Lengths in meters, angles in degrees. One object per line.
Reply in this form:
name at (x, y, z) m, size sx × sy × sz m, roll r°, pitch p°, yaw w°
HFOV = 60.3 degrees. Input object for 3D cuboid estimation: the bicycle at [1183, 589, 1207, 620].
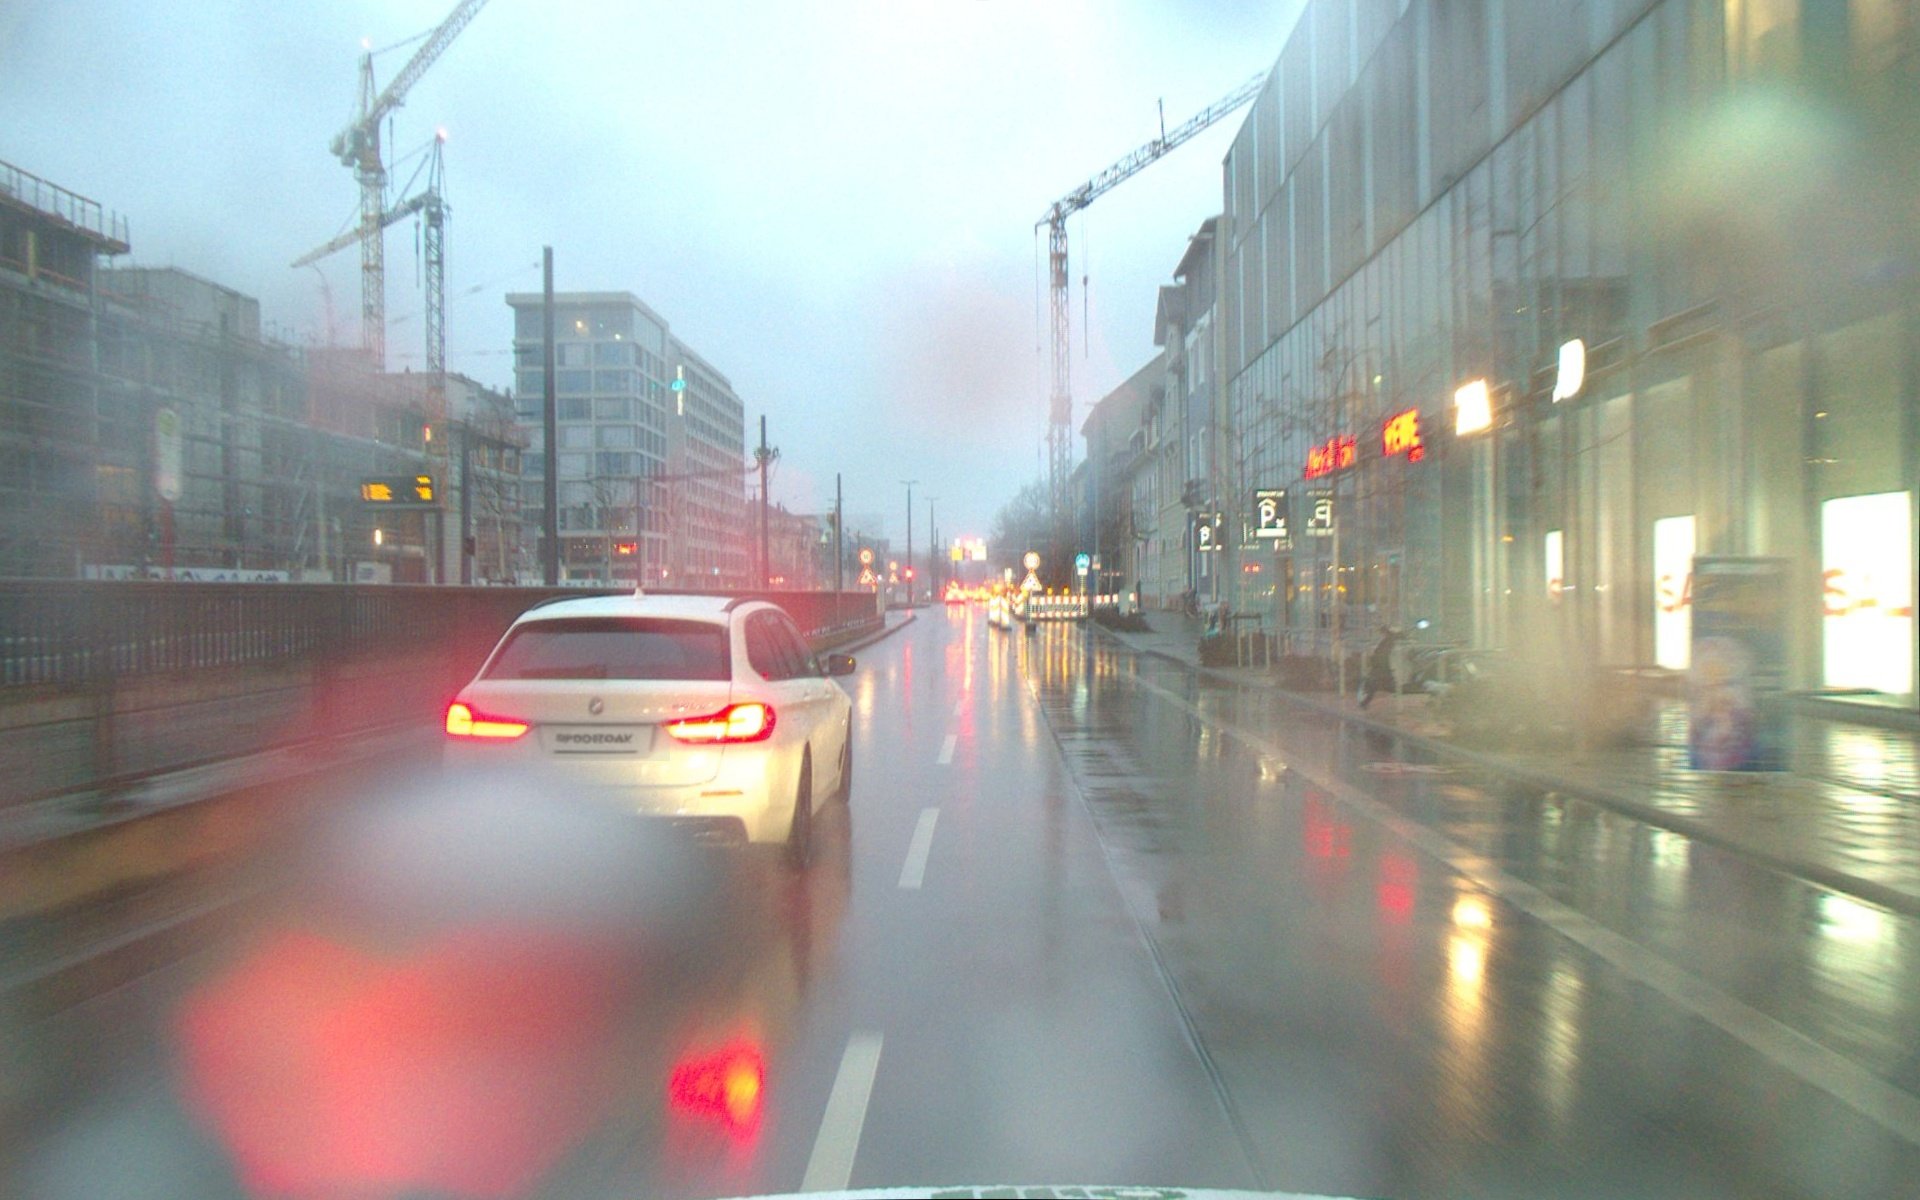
bicycle at (9.831, 0.178, 69.249) m, size 0.668 × 1.243 × 1.905 m, roll -3°, pitch 0°, yaw 0°

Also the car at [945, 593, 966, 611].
car at (-0.416, 0.168, 158.404) m, size 1.862 × 1.670 × 4.001 m, roll 0°, pitch 0°, yaw 1°

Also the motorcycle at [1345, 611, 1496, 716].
motorcycle at (6.167, 0.840, 22.214) m, size 1.875 × 1.357 × 0.592 m, roll -1°, pitch -1°, yaw 41°

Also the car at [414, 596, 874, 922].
car at (-1.589, 0.728, 10.105) m, size 1.814 × 1.491 × 4.947 m, roll 0°, pitch 0°, yaw 0°
